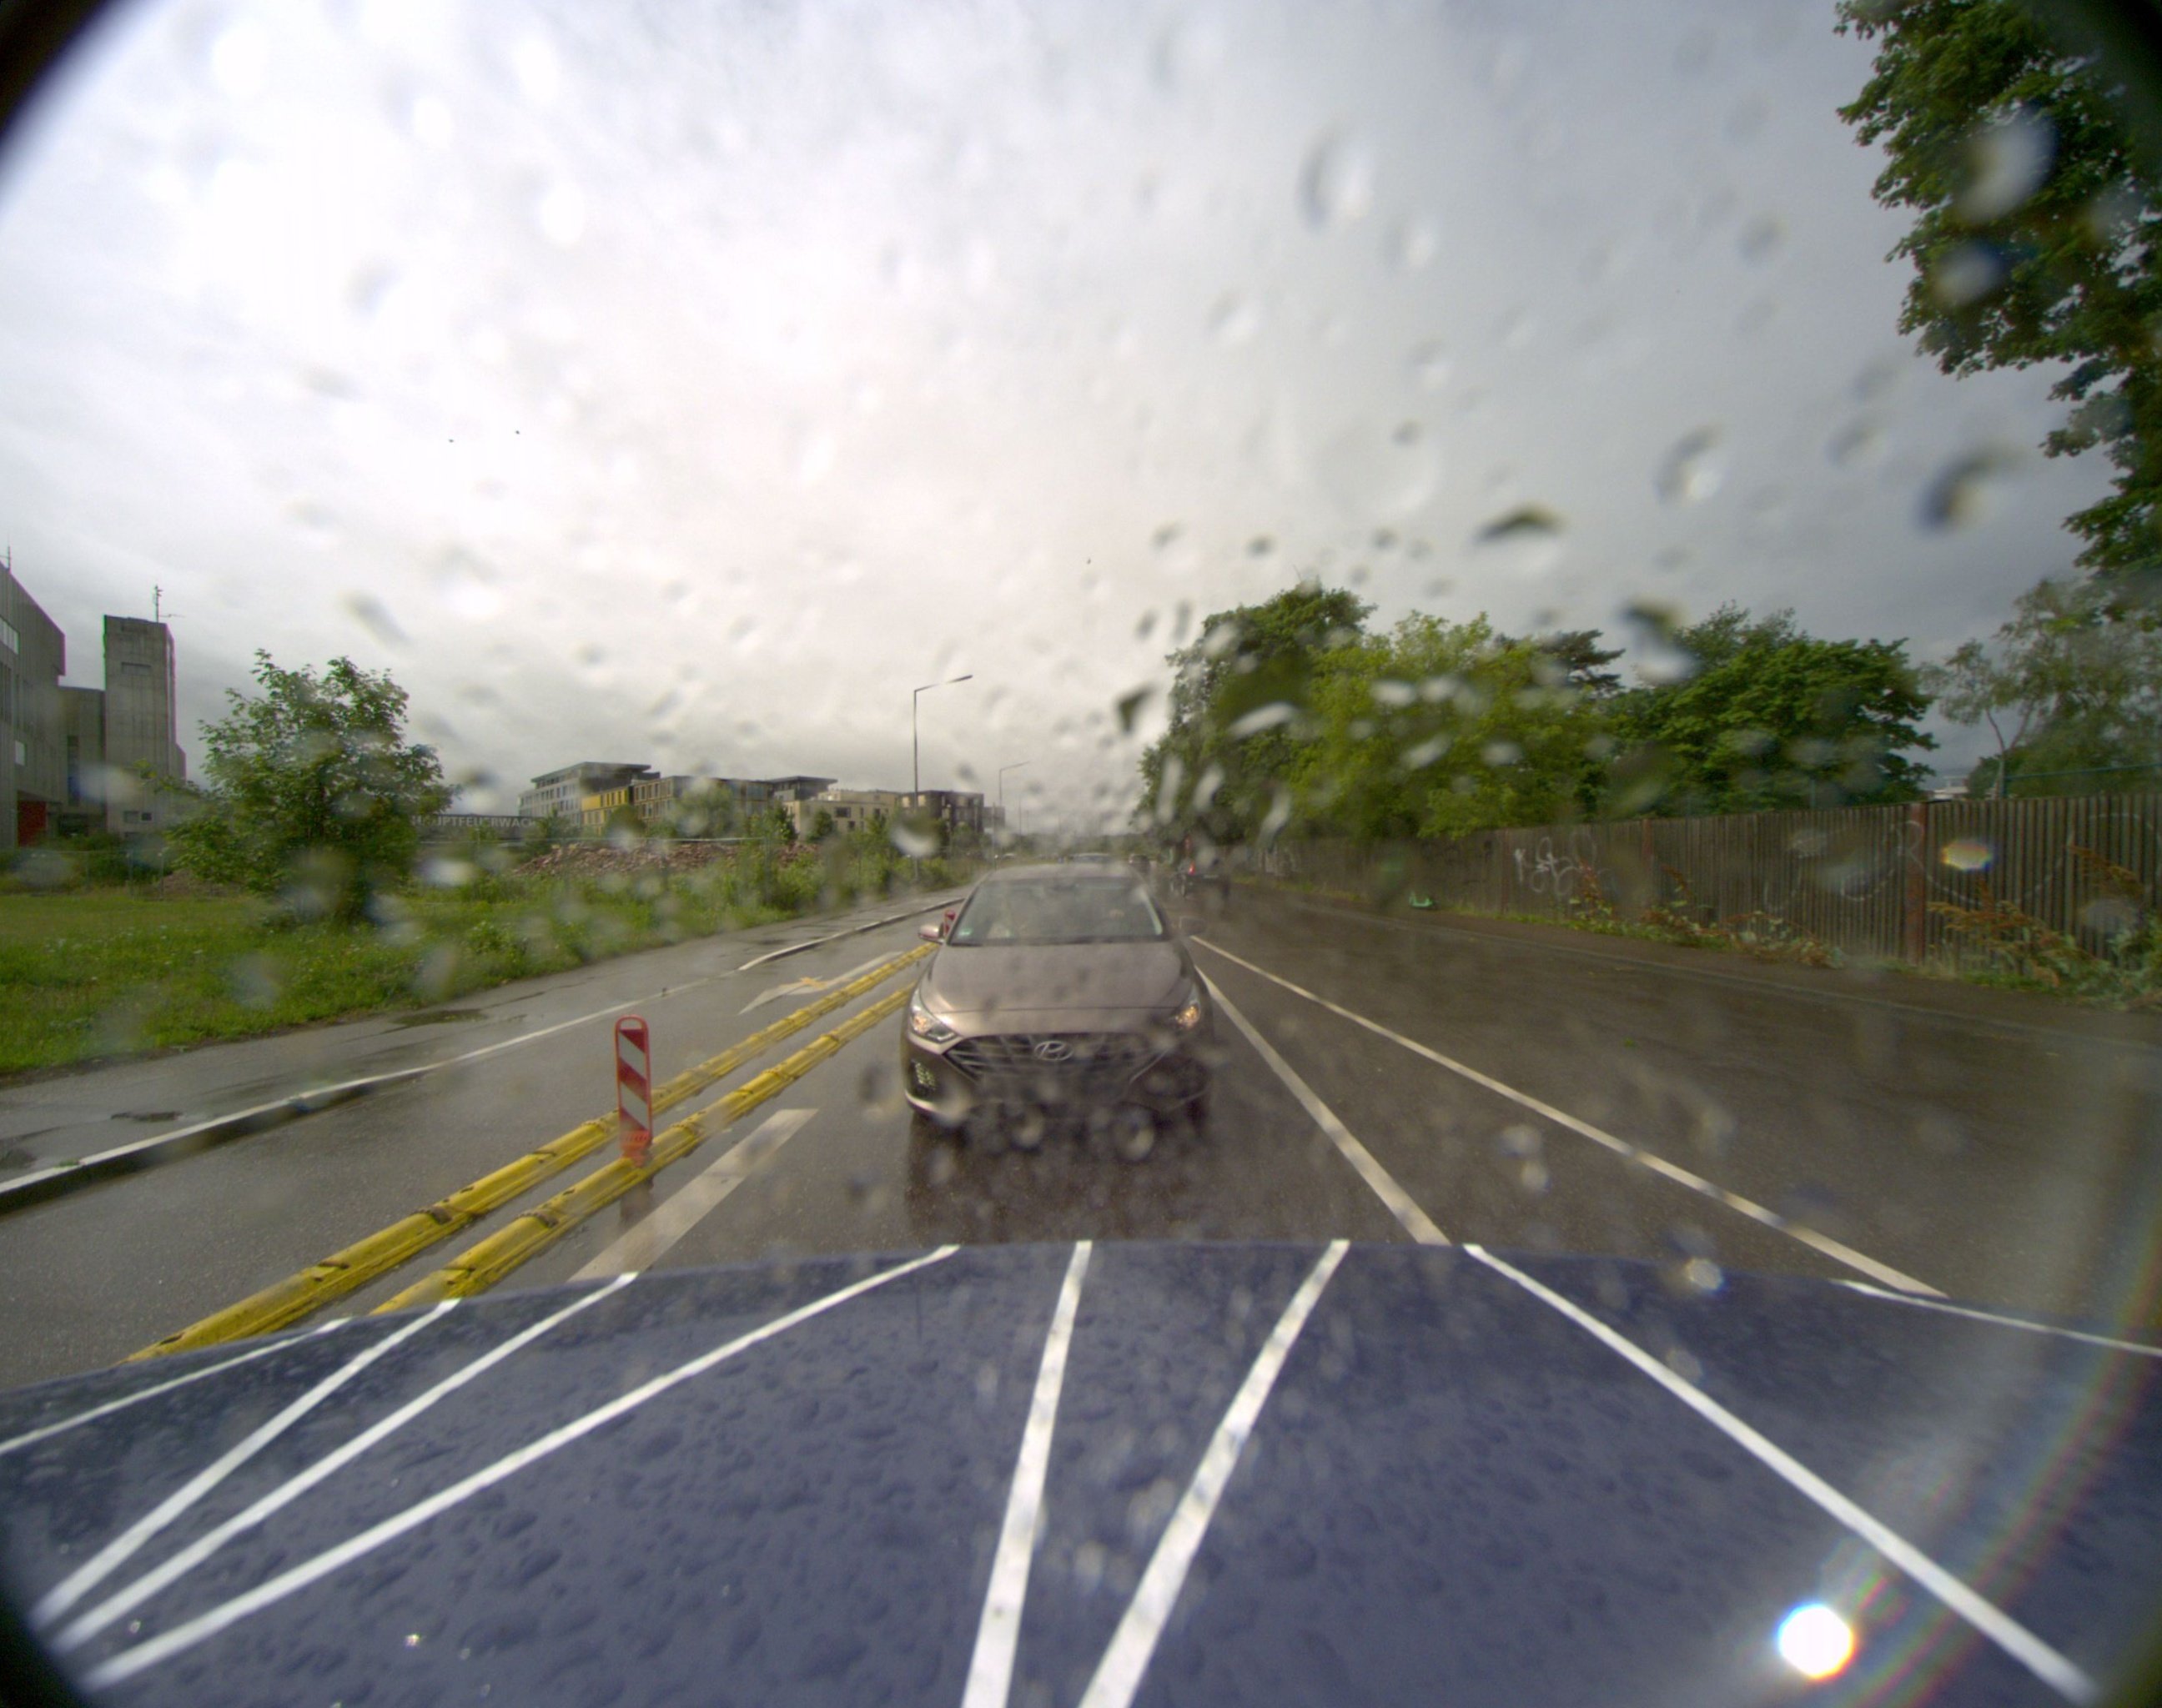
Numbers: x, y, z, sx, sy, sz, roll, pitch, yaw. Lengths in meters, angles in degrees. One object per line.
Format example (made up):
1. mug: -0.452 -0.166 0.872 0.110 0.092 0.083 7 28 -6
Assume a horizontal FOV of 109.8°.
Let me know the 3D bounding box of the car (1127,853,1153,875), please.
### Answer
1. car: 4.554 0.768 59.093 1.785 1.543 4.426 2 0 2

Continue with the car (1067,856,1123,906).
1. car: 0.437 0.849 25.783 1.734 1.539 3.770 -1 0 0

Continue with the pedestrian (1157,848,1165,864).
1. pedestrian: 8.859 0.238 83.980 0.841 1.759 0.644 0 1 1

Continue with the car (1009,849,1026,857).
1. car: -17.365 -0.235 207.921 4.008 2.002 1.994 -1 0 -43

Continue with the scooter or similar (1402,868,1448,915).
1. scooter or similar: 8.865 0.948 19.613 0.564 1.156 1.207 -1 1 -6

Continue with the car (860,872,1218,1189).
1. car: -0.233 0.905 5.630 1.724 1.423 3.817 -1 0 -1

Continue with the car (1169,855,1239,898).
1. car: 4.731 0.836 29.881 1.879 1.474 4.176 0 1 -3
